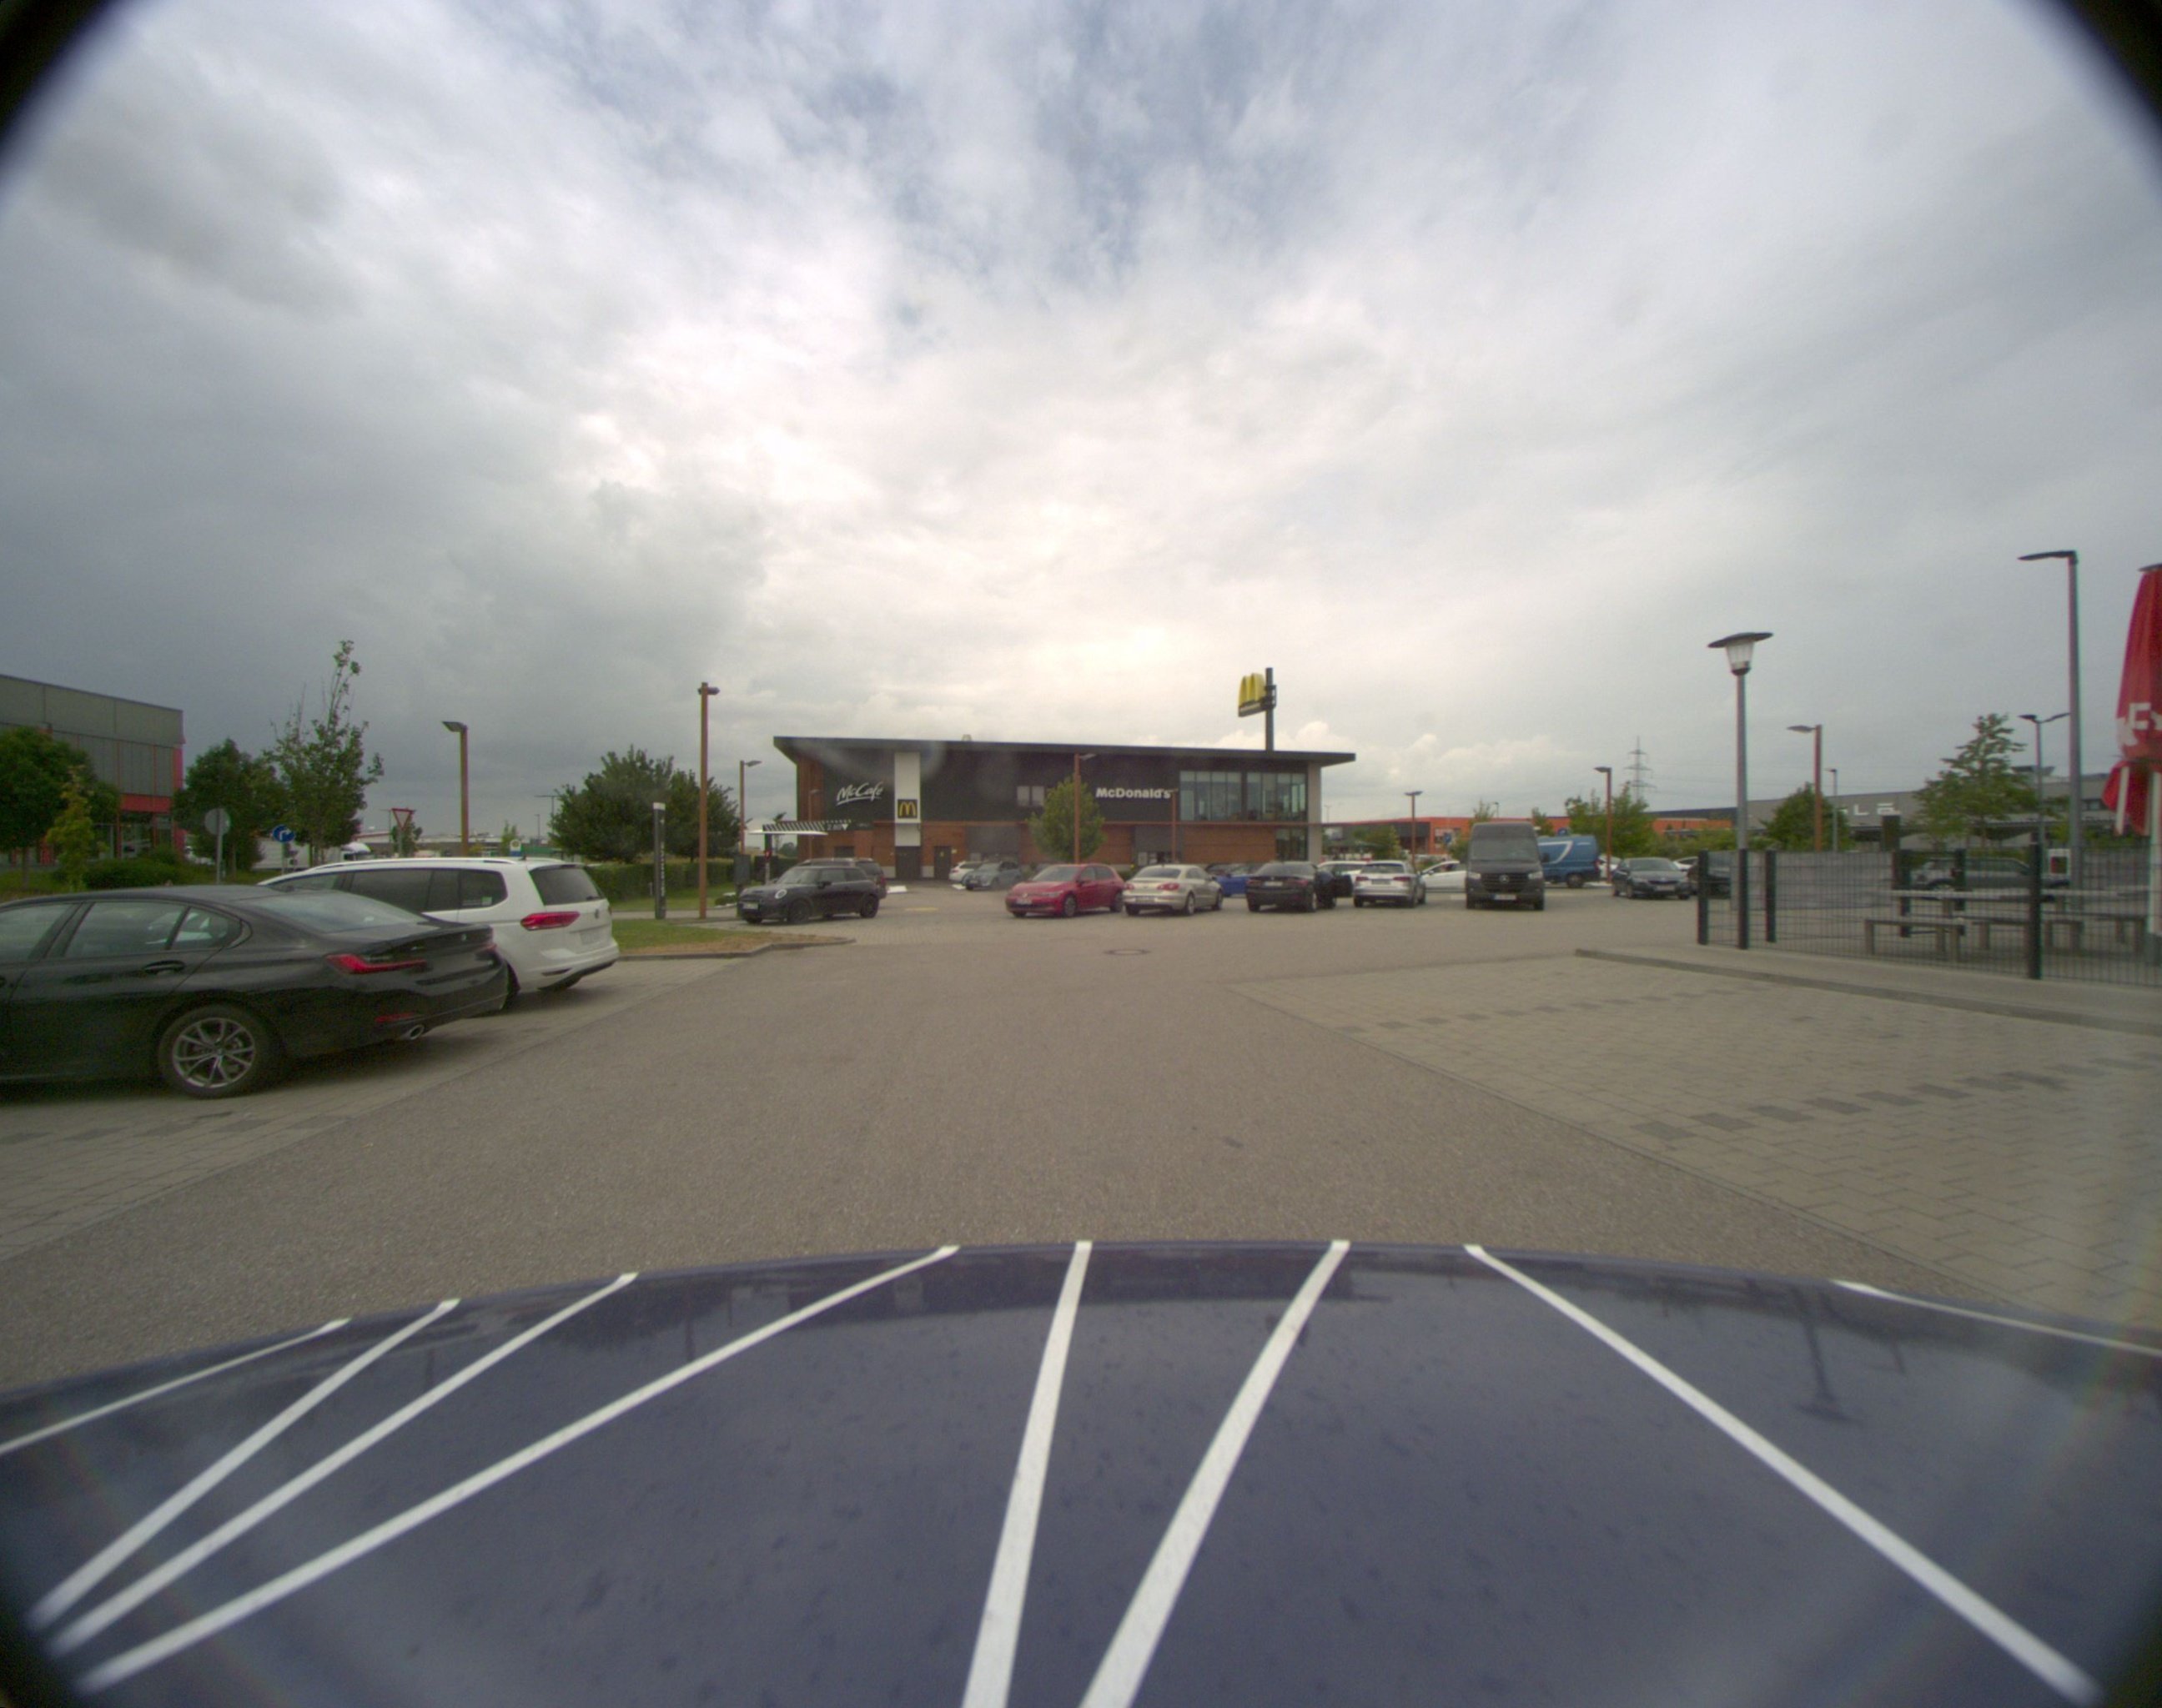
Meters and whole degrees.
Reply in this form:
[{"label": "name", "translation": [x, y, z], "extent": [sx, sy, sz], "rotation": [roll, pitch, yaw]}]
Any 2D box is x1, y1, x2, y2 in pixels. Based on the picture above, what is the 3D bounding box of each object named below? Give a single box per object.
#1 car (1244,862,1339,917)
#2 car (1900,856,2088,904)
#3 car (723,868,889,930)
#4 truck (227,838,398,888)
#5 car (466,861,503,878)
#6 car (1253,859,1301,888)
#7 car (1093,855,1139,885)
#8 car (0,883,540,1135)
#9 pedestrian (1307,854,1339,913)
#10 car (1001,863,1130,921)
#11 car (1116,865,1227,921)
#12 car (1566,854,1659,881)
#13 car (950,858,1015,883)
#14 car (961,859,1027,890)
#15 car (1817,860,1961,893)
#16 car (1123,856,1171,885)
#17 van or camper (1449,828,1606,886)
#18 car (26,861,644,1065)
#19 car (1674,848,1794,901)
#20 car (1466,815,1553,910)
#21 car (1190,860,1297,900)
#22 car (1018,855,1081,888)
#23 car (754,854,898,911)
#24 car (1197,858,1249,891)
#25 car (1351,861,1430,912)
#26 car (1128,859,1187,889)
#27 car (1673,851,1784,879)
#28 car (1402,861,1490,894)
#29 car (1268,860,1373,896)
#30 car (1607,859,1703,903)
[{"label": "car", "translation": [6.317, 0.987, 22.462], "extent": [1.683, 1.454, 4.416], "rotation": [-1, -1, 29]}, {"label": "car", "translation": [28.964, 0.791, 24.272], "extent": [3.516, 1.368, 1.613], "rotation": [1, 0, 36]}, {"label": "car", "translation": [-6.933, 1.067, 19.580], "extent": [1.683, 1.403, 3.938], "rotation": [-1, -1, 26]}, {"label": "truck", "translation": [-73.429, 0.852, 72.857], "extent": [11.993, 4.472, 3.765], "rotation": [1, 0, -4]}, {"label": "car", "translation": [-52.418, 1.357, 66.838], "extent": [1.758, 1.482, 4.121], "rotation": [0, -1, -27]}, {"label": "car", "translation": [12.099, 1.171, 46.828], "extent": [1.785, 1.478, 4.007], "rotation": [2, 3, 31]}, {"label": "car", "translation": [2.172, 0.983, 48.443], "extent": [1.754, 1.743, 3.994], "rotation": [1, 0, -15]}, {"label": "car", "translation": [-7.140, 1.061, 5.744], "extent": [4.516, 1.458, 1.946], "rotation": [-2, 0, -9]}, {"label": "pedestrian", "translation": [7.138, 0.855, 22.411], "extent": [0.747, 1.668, 0.844], "rotation": [1, 0, 27]}, {"label": "car", "translation": [-0.338, 0.997, 21.202], "extent": [1.683, 1.455, 4.008], "rotation": [-1, -1, 32]}, {"label": "car", "translation": [2.687, 1.024, 21.612], "extent": [1.749, 1.403, 4.468], "rotation": [-1, -1, 26]}, {"label": "car", "translation": [35.179, 0.856, 50.454], "extent": [2.074, 1.593, 4.938], "rotation": [0, 1, -13]}, {"label": "car", "translation": [-6.450, 1.083, 49.583], "extent": [4.002, 1.497, 1.786], "rotation": [1, 0, -14]}, {"label": "car", "translation": [-4.763, 1.093, 42.265], "extent": [1.745, 1.575, 3.912], "rotation": [2, 1, 27]}, {"label": "car", "translation": [38.871, 1.029, 36.727], "extent": [1.834, 1.450, 4.451], "rotation": [-1, 0, -11]}, {"label": "car", "translation": [4.200, 1.033, 49.051], "extent": [1.754, 1.743, 3.994], "rotation": [1, 0, -15]}, {"label": "van or camper", "translation": [22.131, 0.222, 37.859], "extent": [6.555, 2.684, 2.177], "rotation": [-1, -1, 35]}, {"label": "car", "translation": [-7.543, 1.005, 8.239], "extent": [4.372, 1.703, 1.991], "rotation": [-2, 0, -9]}, {"label": "car", "translation": [23.374, 0.685, 27.446], "extent": [1.995, 1.717, 4.906], "rotation": [1, 0, 25]}, {"label": "car", "translation": [13.259, 0.287, 23.850], "extent": [2.068, 2.538, 7.027], "rotation": [-1, -1, 27]}, {"label": "car", "translation": [6.817, 1.040, 31.992], "extent": [3.988, 1.501, 1.773], "rotation": [1, 0, 31]}, {"label": "car", "translation": [-1.708, 0.999, 42.842], "extent": [1.995, 1.739, 4.008], "rotation": [2, -1, 23]}, {"label": "car", "translation": [-8.467, 0.905, 25.323], "extent": [4.182, 1.680, 1.813], "rotation": [1, 0, 14]}, {"label": "car", "translation": [8.509, 1.170, 45.219], "extent": [1.893, 1.653, 4.266], "rotation": [2, 3, 27]}, {"label": "car", "translation": [9.833, 0.961, 23.989], "extent": [1.682, 1.443, 4.008], "rotation": [2, 0, 31]}, {"label": "car", "translation": [4.555, 1.137, 44.690], "extent": [1.832, 1.565, 4.101], "rotation": [1, 1, 32]}, {"label": "car", "translation": [36.889, 0.602, 43.442], "extent": [2.074, 1.544, 4.472], "rotation": [0, 0, -15]}, {"label": "car", "translation": [16.885, 1.064, 35.138], "extent": [3.564, 1.445, 1.846], "rotation": [-1, -1, 29]}, {"label": "car", "translation": [10.375, 1.024, 32.915], "extent": [4.100, 1.458, 1.784], "rotation": [0, -2, 27]}, {"label": "car", "translation": [20.173, 0.906, 26.866], "extent": [1.828, 1.403, 4.007], "rotation": [-1, 0, 24]}]
